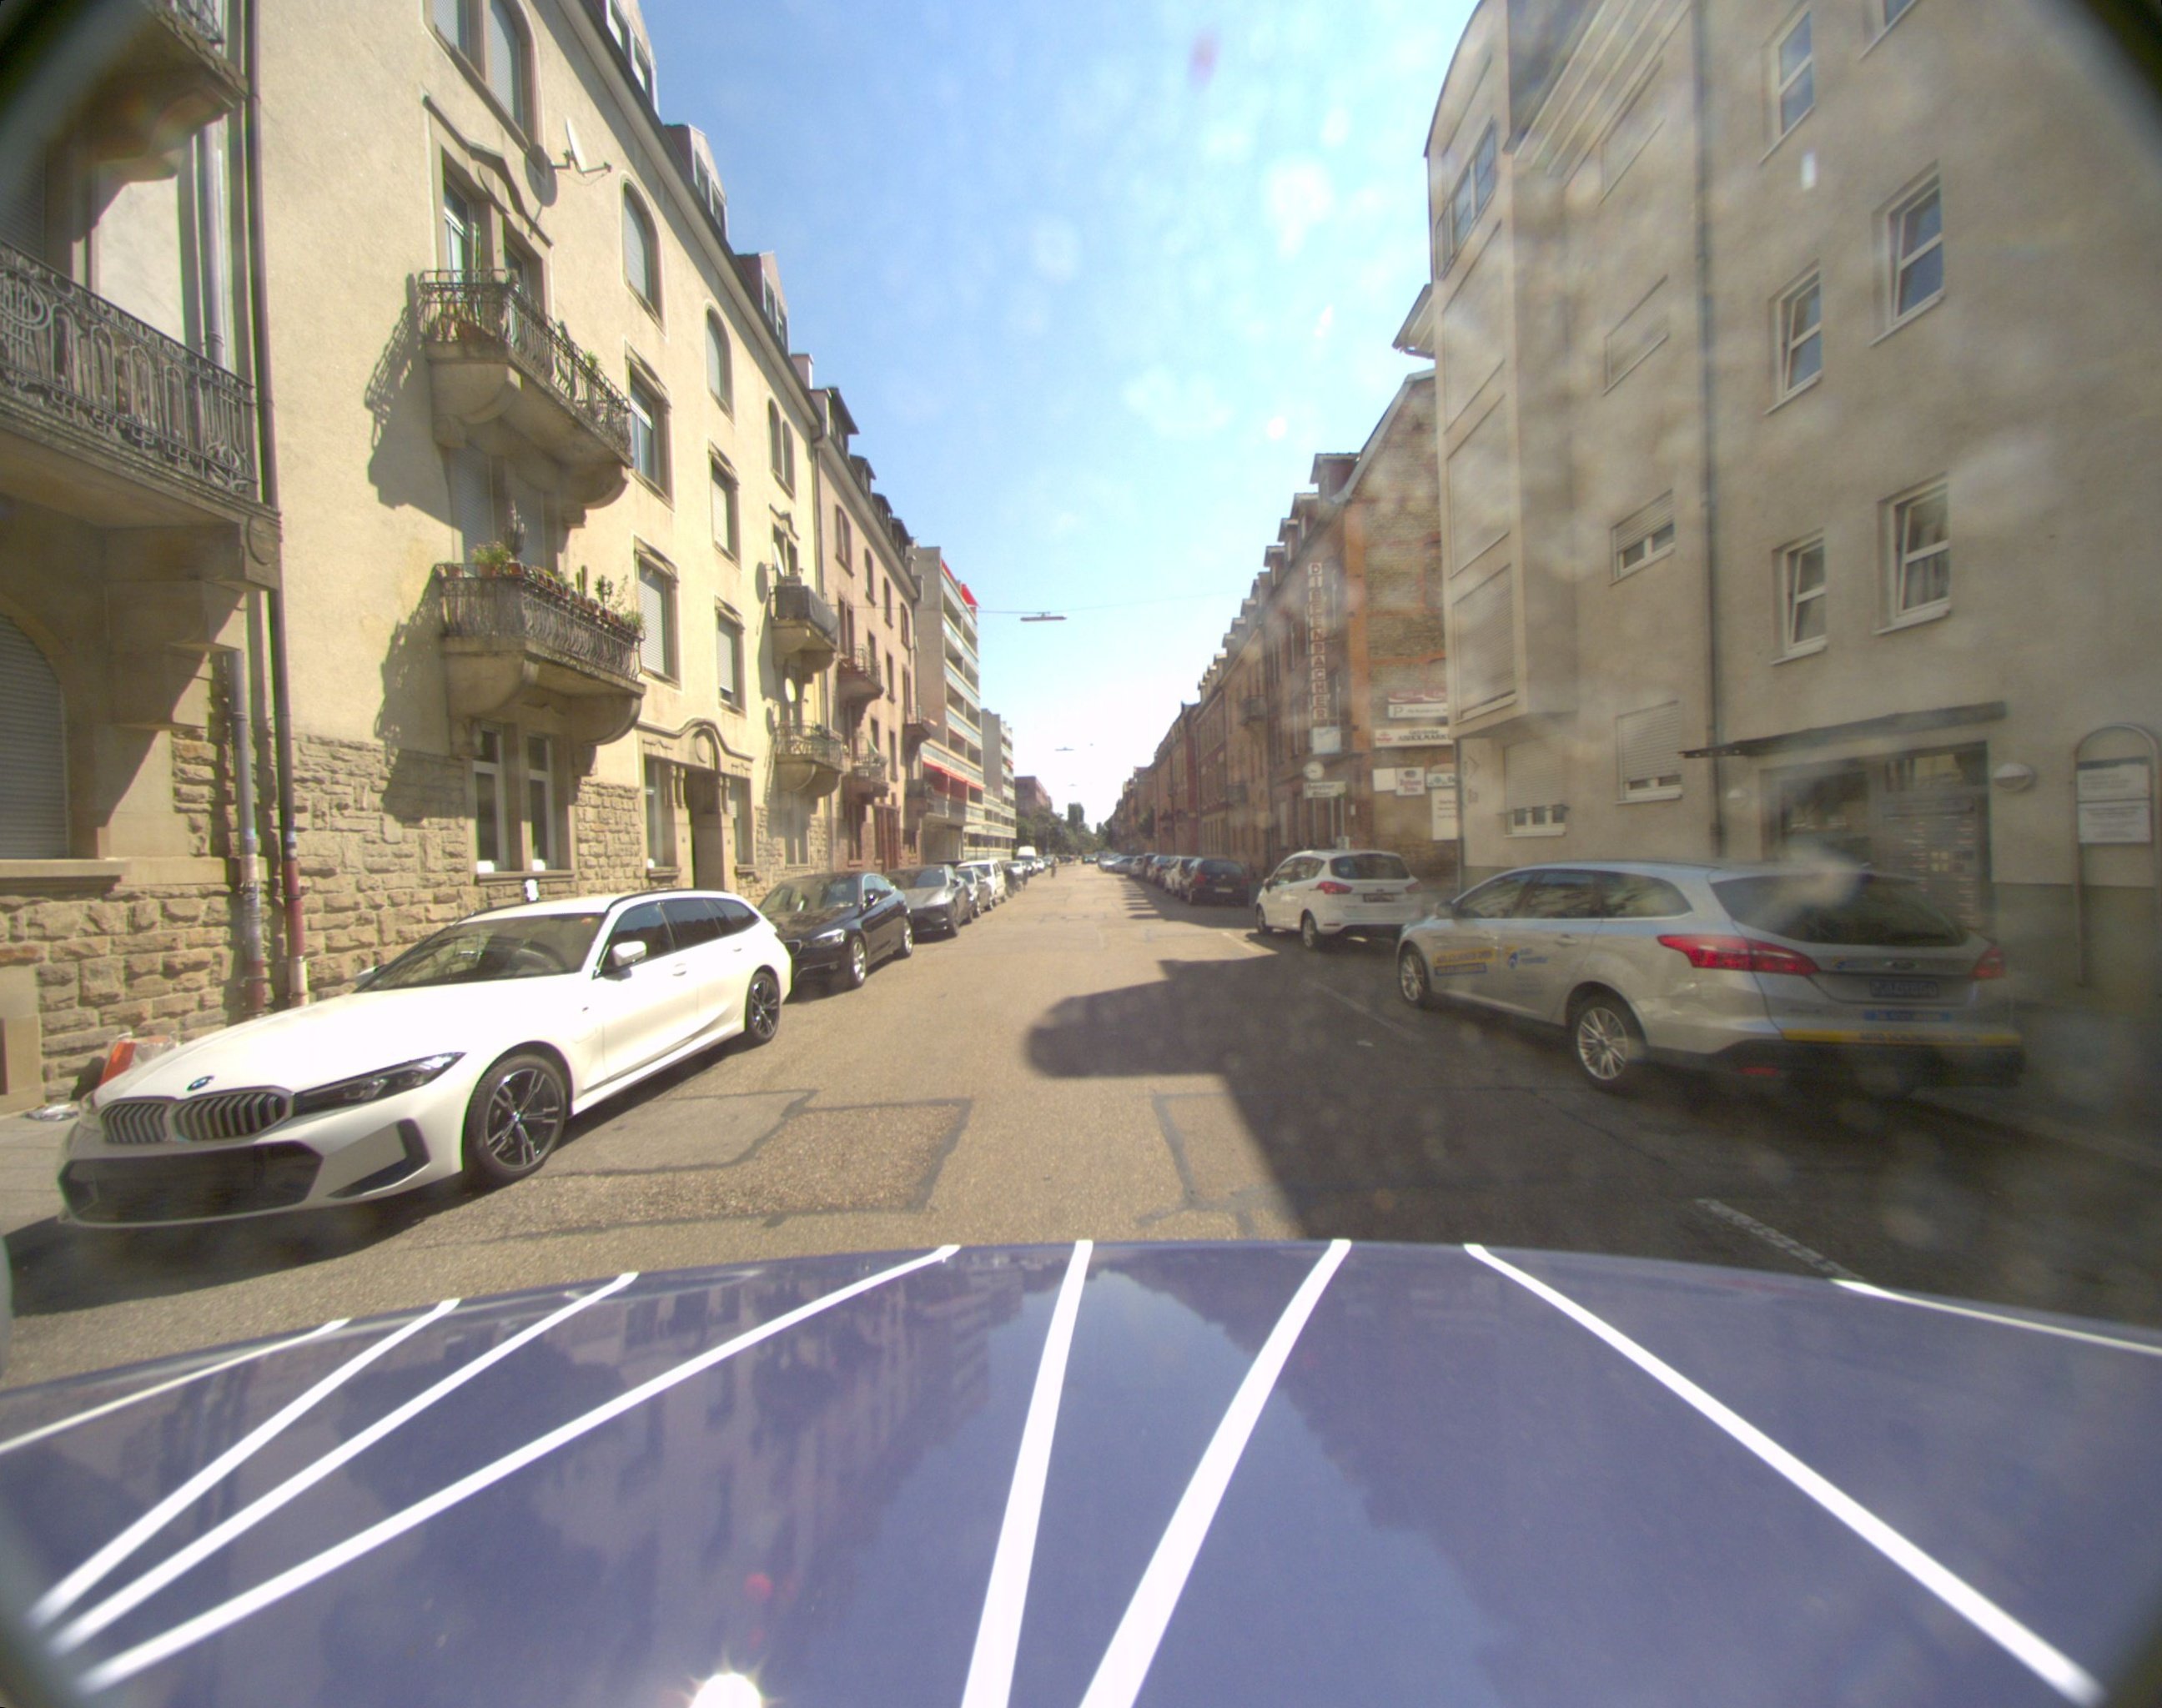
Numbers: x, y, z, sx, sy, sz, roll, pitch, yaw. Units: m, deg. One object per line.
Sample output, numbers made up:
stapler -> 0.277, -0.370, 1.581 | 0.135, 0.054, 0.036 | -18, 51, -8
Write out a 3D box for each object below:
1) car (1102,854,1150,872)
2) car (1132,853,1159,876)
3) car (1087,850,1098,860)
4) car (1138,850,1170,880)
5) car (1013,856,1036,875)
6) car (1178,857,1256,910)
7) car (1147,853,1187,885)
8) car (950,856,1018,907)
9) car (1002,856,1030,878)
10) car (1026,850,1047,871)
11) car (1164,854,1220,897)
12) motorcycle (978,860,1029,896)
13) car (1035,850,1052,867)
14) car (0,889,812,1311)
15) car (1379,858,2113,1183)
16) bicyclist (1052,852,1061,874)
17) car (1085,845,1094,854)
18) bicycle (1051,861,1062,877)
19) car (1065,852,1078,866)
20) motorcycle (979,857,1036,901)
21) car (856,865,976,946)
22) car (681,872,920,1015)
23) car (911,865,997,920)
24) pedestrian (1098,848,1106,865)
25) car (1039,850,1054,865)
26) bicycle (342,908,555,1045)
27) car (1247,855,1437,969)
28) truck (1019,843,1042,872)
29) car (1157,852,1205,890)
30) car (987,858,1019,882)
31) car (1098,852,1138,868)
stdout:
car -> 3.877, 0.806, 65.941 | 3.997, 1.422, 1.678 | -1, 1, 1
car -> 4.136, 0.665, 49.210 | 1.450, 1.391, 3.525 | 2, 1, 0
car -> 1.835, 0.140, 120.006 | 1.625, 1.601, 3.596 | -1, 1, 0
car -> 4.227, 0.591, 44.273 | 1.450, 1.633, 3.525 | 2, 1, -1
car -> -4.980, 1.020, 67.766 | 1.717, 1.543, 3.999 | -1, 1, 0
car -> 4.161, 0.866, 23.826 | 1.781, 1.421, 3.836 | 2, 1, 1
car -> 4.262, 0.702, 38.076 | 1.450, 1.464, 3.525 | 2, 1, -2
car -> -3.460, 0.932, 27.724 | 1.652, 1.613, 4.092 | -1, 1, 4
car -> -4.933, 0.962, 57.831 | 1.754, 1.484, 3.902 | -1, 1, 0
car -> -4.629, 0.644, 79.532 | 1.902, 2.002, 3.999 | -1, 1, 0
car -> 4.145, 0.767, 28.861 | 1.632, 1.421, 3.678 | 2, 1, 1
motorcycle -> -3.594, 1.112, 35.173 | 2.197, 1.422, 0.732 | -6, 2, -40
car -> -4.732, 0.534, 97.032 | 1.902, 2.002, 3.999 | -1, 1, 0
car -> -3.754, 1.167, 5.543 | 1.720, 1.444, 4.597 | -4, 1, 2
car -> 4.055, 0.819, 5.833 | 1.735, 1.486, 4.347 | 1, 1, -1
bicyclist -> -1.858, 0.698, 57.708 | 0.645, 1.640, 0.622 | -1, 1, 0
car -> 1.878, -0.960, 162.993 | 1.785, 2.002, 4.000 | -2, 1, 3
bicycle -> -1.843, 1.137, 57.660 | 0.671, 1.169, 2.094 | -1, 1, 1
car -> -1.391, 0.799, 115.818 | 1.826, 2.002, 3.867 | -1, 1, 0
motorcycle -> -3.056, 1.024, 31.884 | 2.197, 1.613, 0.764 | -6, 2, -41
car -> -3.521, 1.028, 17.043 | 1.828, 1.423, 4.488 | -3, 0, -2
car -> -3.721, 1.086, 11.083 | 1.741, 1.449, 4.667 | -1, 1, 0
car -> -3.665, 1.076, 22.686 | 1.791, 1.350, 4.352 | -1, 0, 0
pedestrian -> 2.441, 0.295, 87.600 | 0.883, 1.823, 0.874 | -3, 1, 1
car -> -4.698, 0.463, 104.119 | 1.793, 1.844, 3.999 | -1, 1, 0
bicycle -> -7.122, 1.315, 8.729 | 0.641, 1.183, 2.125 | 2, 1, 1
car -> 4.187, 0.838, 12.853 | 1.633, 1.540, 3.851 | 2, 1, -4
truck -> -4.872, 0.297, 74.128 | 1.869, 2.715, 4.507 | -1, 1, 0
car -> 4.394, 0.698, 33.730 | 1.450, 1.534, 3.524 | 2, 1, -3
car -> -5.389, 1.070, 53.050 | 1.754, 1.484, 3.902 | -1, 1, 0
car -> 3.685, 0.594, 76.236 | 3.997, 1.491, 1.652 | -1, 1, 1
